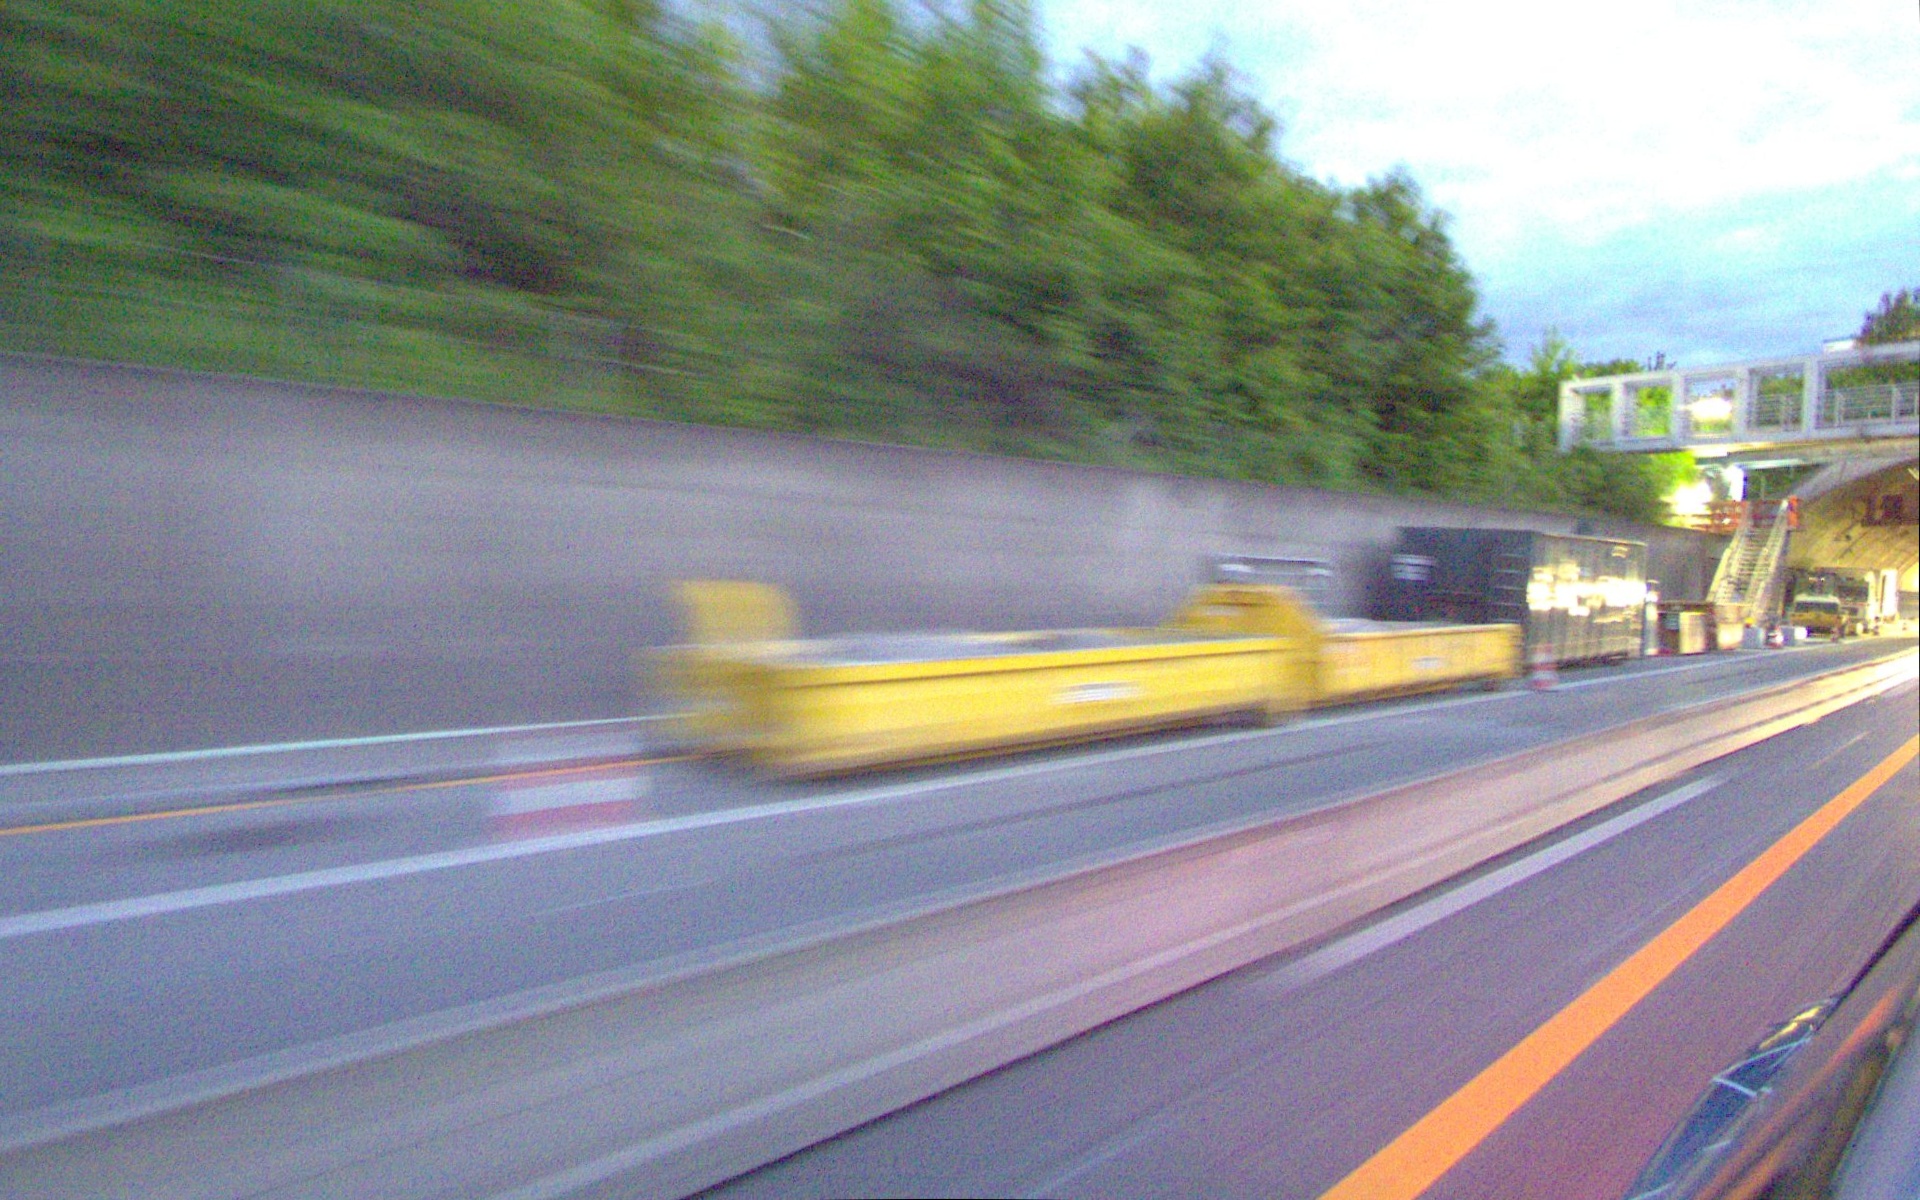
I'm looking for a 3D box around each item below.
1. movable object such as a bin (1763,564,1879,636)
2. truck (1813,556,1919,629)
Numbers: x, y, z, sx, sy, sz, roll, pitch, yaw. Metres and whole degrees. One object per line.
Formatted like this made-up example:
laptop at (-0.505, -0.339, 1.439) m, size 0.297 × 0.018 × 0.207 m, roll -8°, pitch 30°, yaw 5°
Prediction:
movable object such as a bin at (37.183, -0.030, 43.624) m, size 7.074 × 2.863 × 2.973 m, roll -1°, pitch 0°, yaw -43°
truck at (44.915, -0.376, 50.026) m, size 8.205 × 3.327 × 2.823 m, roll -1°, pitch 0°, yaw -40°
